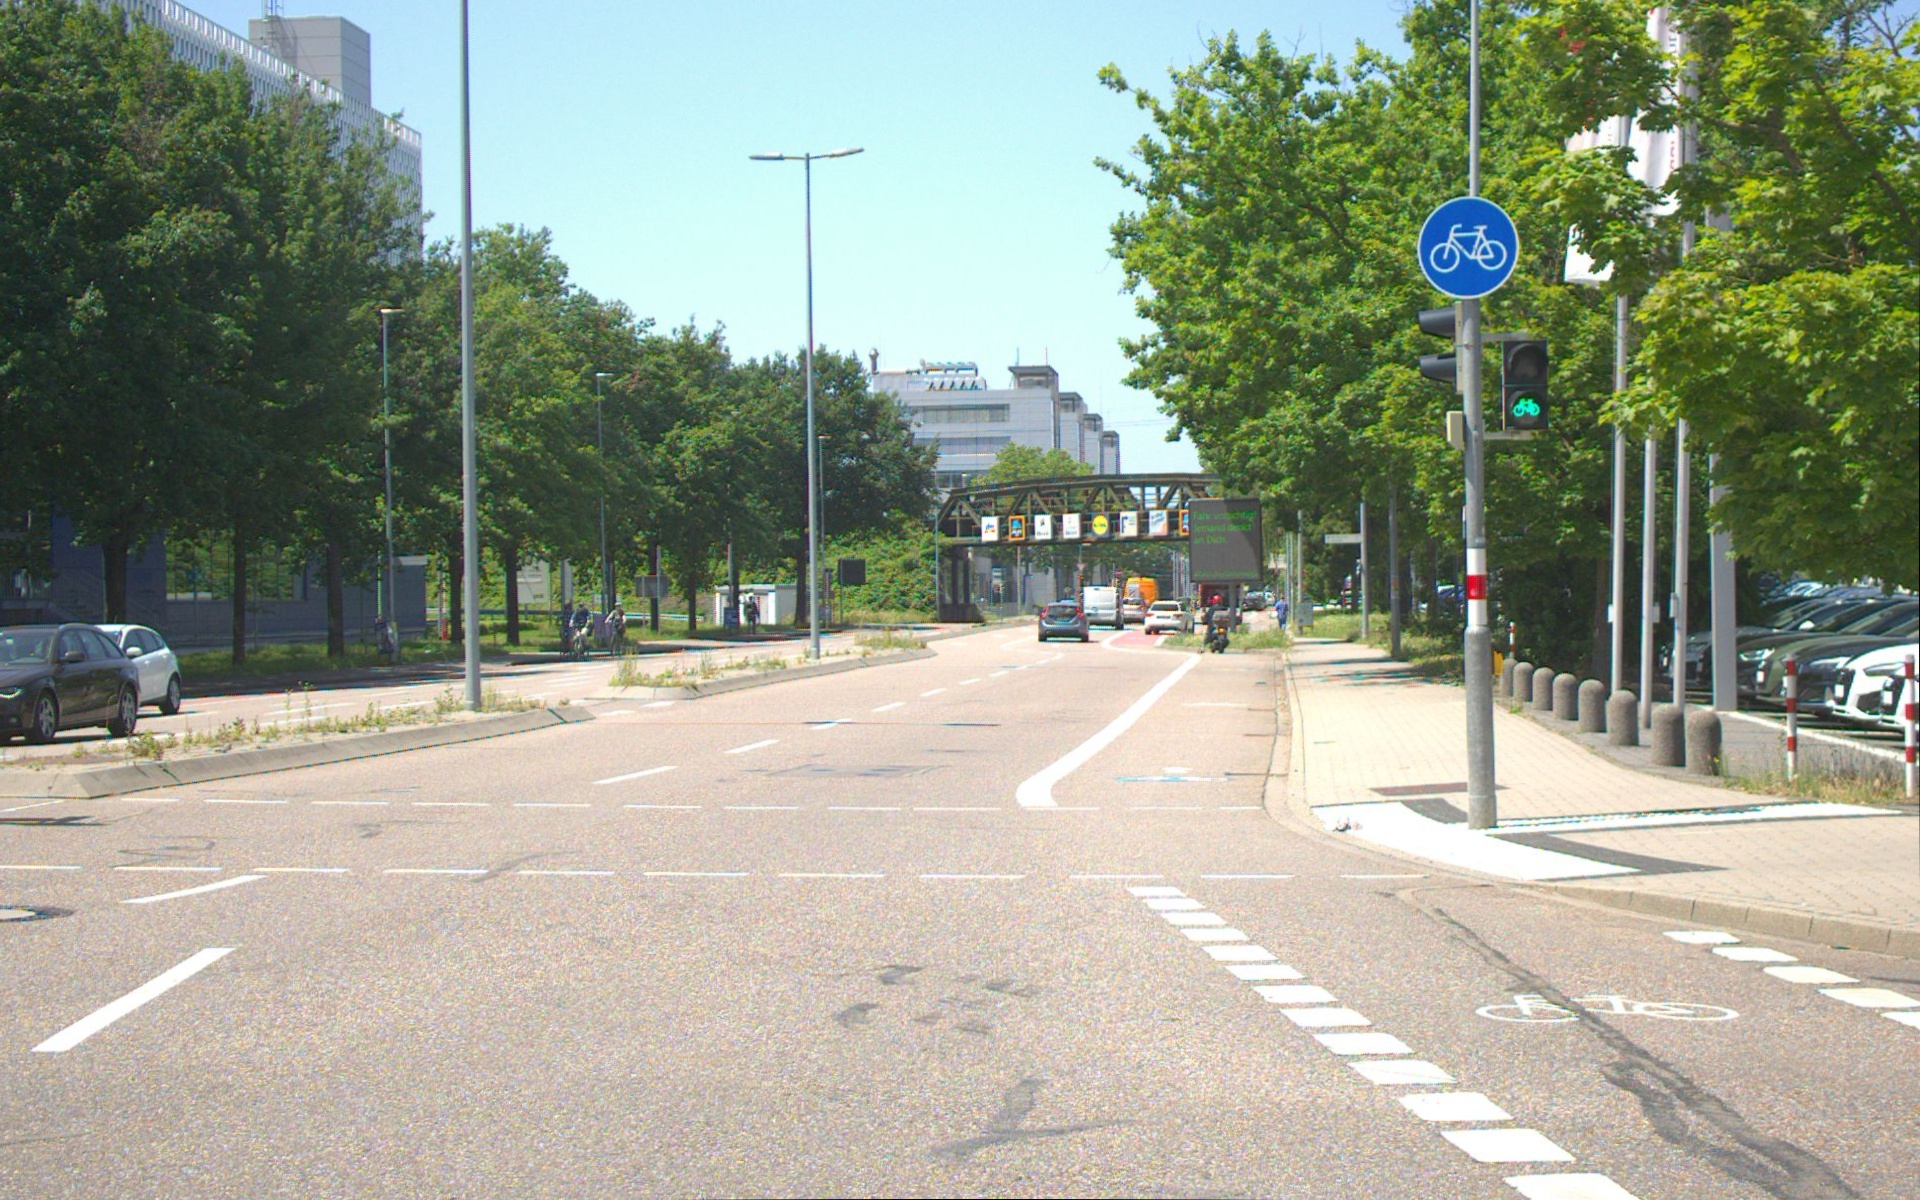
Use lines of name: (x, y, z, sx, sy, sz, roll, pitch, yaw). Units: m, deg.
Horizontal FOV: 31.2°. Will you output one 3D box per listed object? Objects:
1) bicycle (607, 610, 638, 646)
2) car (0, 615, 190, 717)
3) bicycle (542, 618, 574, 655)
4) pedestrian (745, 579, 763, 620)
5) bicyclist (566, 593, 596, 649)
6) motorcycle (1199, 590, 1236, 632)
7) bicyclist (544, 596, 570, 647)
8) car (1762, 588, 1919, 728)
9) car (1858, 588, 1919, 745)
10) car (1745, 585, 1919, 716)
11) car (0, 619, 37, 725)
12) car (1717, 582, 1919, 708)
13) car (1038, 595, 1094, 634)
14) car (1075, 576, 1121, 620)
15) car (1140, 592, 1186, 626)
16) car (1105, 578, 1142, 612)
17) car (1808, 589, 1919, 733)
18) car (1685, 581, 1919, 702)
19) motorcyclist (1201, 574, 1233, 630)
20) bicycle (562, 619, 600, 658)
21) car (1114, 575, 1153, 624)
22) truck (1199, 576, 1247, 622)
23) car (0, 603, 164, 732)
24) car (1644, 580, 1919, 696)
bicycle: (-11.223, 0.916, 114.294, 0.629, 1.155, 2.117, -3, 0, 4)
car: (-13.394, 0.987, 52.902, 1.727, 1.441, 4.451, -2, -1, 5)
bicycle: (-12.539, 1.139, 107.263, 0.637, 1.130, 1.970, -1, 0, 4)
pedestrian: (-9.504, -0.012, 158.415, 0.744, 1.878, 0.577, -1, 0, 6)
bicyclist: (-11.533, 0.637, 104.631, 0.745, 1.680, 0.952, -1, 0, 4)
motorcycle: (6.986, 0.292, 93.370, 0.716, 1.101, 1.830, 1, 0, -5)
bicyclist: (-12.565, 0.666, 107.180, 0.637, 1.577, 0.884, -1, 0, 4)
car: (10.713, 0.637, 36.033, 4.227, 1.385, 1.868, 2, 0, 5)
car: (10.276, 0.640, 30.671, 4.097, 1.360, 1.874, 2, 0, 5)
car: (11.094, 0.593, 38.824, 4.102, 1.400, 1.868, 2, 0, 5)
car: (-13.903, 1.017, 45.578, 1.746, 1.417, 4.623, -2, 0, 4)
car: (11.460, 0.565, 41.959, 4.102, 1.448, 1.868, 2, 0, 5)
car: (3.967, 0.531, 128.584, 1.901, 1.371, 4.231, -1, 0, 4)
car: (6.398, -0.095, 159.277, 1.994, 2.007, 3.999, 1, 0, 4)
car: (8.656, 0.372, 146.431, 1.924, 1.415, 3.999, 0, 0, 4)
car: (8.924, -0.266, 187.209, 1.895, 1.809, 3.999, -1, 0, 4)
car: (10.483, 0.627, 33.385, 4.100, 1.344, 1.868, 2, 0, 5)
car: (11.379, 0.534, 44.504, 3.682, 1.448, 1.833, 2, 0, 5)
motorcyclist: (6.982, 0.053, 93.379, 0.719, 1.524, 0.871, 1, 0, -4)
bicycle: (-11.527, 1.164, 104.689, 0.739, 1.121, 2.434, -1, 0, 4)
car: (10.221, -0.044, 201.881, 2.073, 2.845, 6.764, -1, 0, 4)
truck: (14.340, -0.060, 187.033, 2.459, 2.402, 7.132, 1, 0, 5)
car: (-11.165, 0.796, 40.814, 1.727, 1.441, 4.718, -2, -1, 8)
car: (11.368, 0.508, 47.125, 3.682, 1.448, 1.833, 2, 0, 5)
